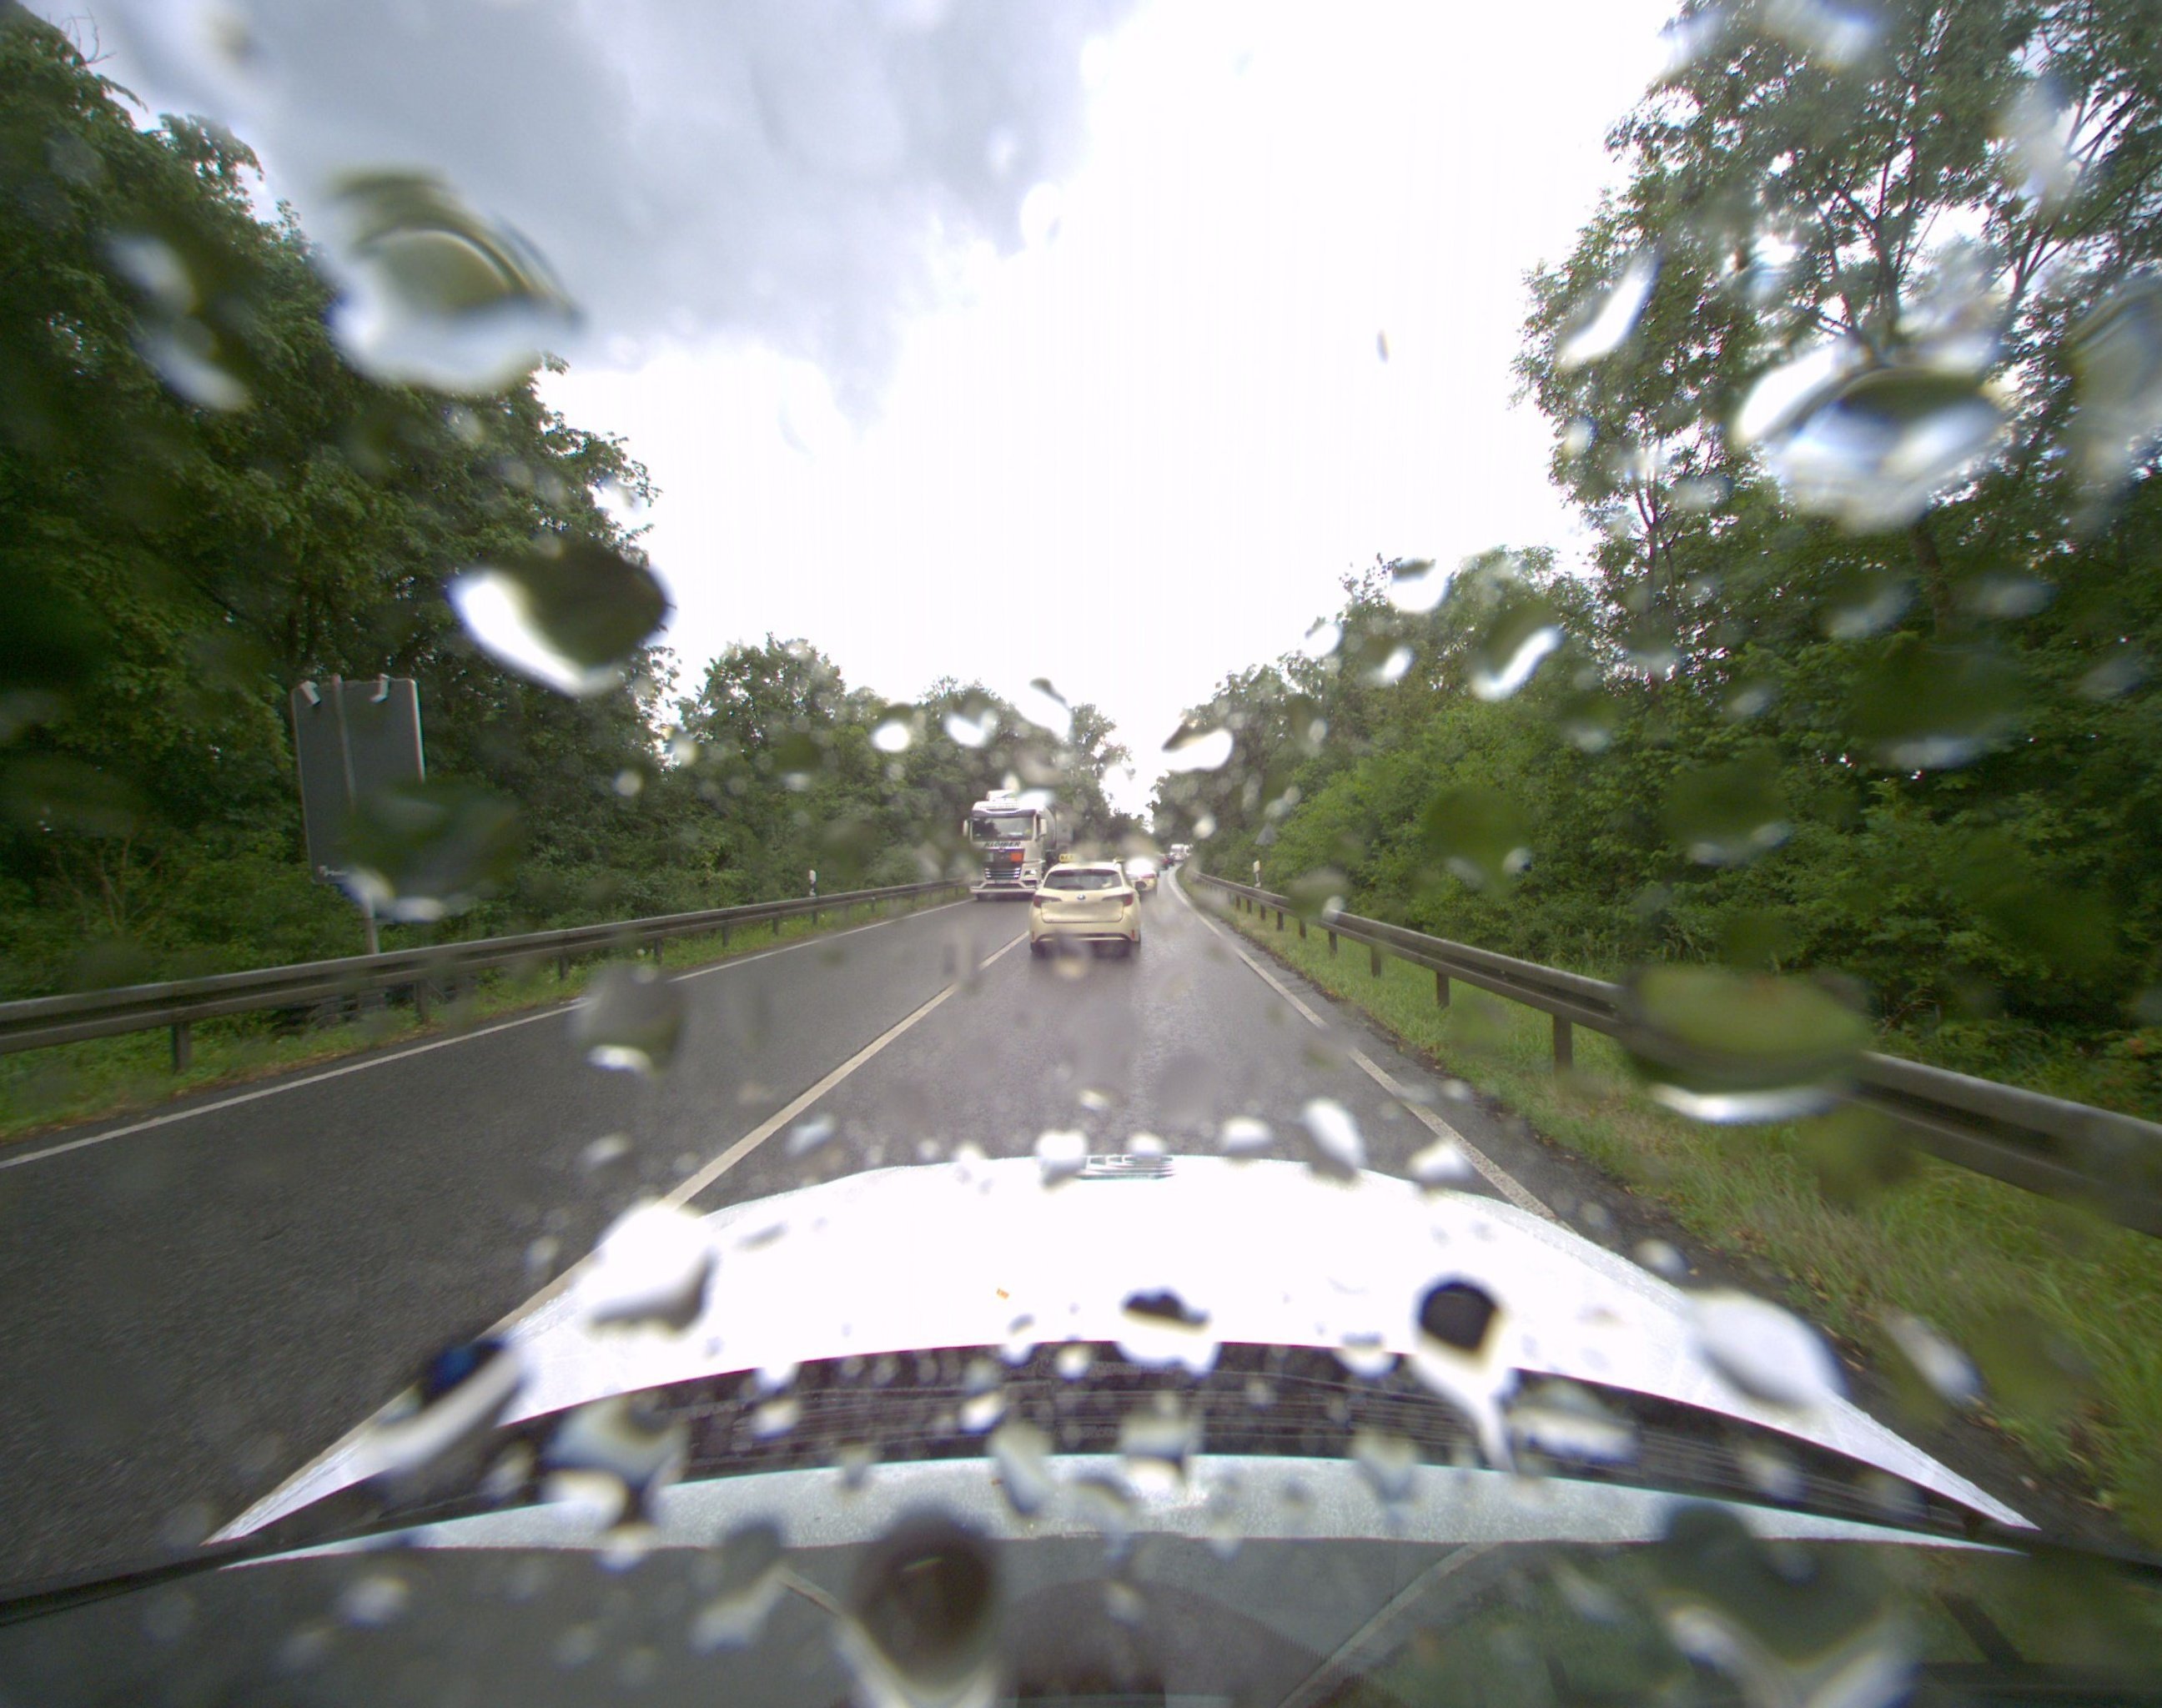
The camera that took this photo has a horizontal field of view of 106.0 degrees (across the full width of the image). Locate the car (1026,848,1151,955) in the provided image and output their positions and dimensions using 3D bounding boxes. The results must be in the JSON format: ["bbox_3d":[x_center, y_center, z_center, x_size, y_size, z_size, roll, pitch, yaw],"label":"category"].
[{"bbox_3d":[0.182,0.726,14.124,1.827,1.580,4.158,0,-1,2],"label":"car"}]

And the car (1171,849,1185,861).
[{"bbox_3d":[13.710,0.154,115.009,1.759,1.547,3.824,-1,-1,10],"label":"car"}]

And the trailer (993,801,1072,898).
[{"bbox_3d":[-1.965,-0.137,36.096,2.525,3.825,7.799,0,-1,4],"label":"trailer"}]

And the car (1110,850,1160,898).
[{"bbox_3d":[1.967,0.686,29.058,1.659,1.580,3.897,0,-1,5],"label":"car"}]

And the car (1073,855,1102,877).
[{"bbox_3d":[0.491,0.868,59.058,1.698,1.516,3.920,0,-1,6],"label":"car"}]

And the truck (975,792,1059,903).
[{"bbox_3d":[-2.290,-0.199,30.715,2.526,3.825,5.247,0,-1,2],"label":"truck"}]

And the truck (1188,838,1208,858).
[{"bbox_3d":[22.824,-1.161,158.787,3.085,3.680,7.025,-1,-1,14],"label":"truck"}]

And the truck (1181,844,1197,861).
[{"bbox_3d":[18.212,-0.198,137.175,2.536,2.713,7.548,0,-1,6],"label":"truck"}]

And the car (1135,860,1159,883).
[{"bbox_3d":[4.690,1.203,58.051,1.604,1.547,3.817,-1,0,4],"label":"car"}]

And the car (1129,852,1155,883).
[{"bbox_3d":[3.236,0.716,43.211,1.295,1.547,3.263,0,-1,4],"label":"car"}]

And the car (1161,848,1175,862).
[{"bbox_3d":[10.145,0.122,94.921,1.608,1.613,3.627,0,-1,6],"label":"car"}]

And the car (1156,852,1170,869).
[{"bbox_3d":[7.752,0.585,76.900,1.160,1.547,2.610,-1,-1,9],"label":"car"}]

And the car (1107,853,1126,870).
[{"bbox_3d":[3.723,0.758,84.789,1.838,1.644,4.304,0,0,5],"label":"car"}]
